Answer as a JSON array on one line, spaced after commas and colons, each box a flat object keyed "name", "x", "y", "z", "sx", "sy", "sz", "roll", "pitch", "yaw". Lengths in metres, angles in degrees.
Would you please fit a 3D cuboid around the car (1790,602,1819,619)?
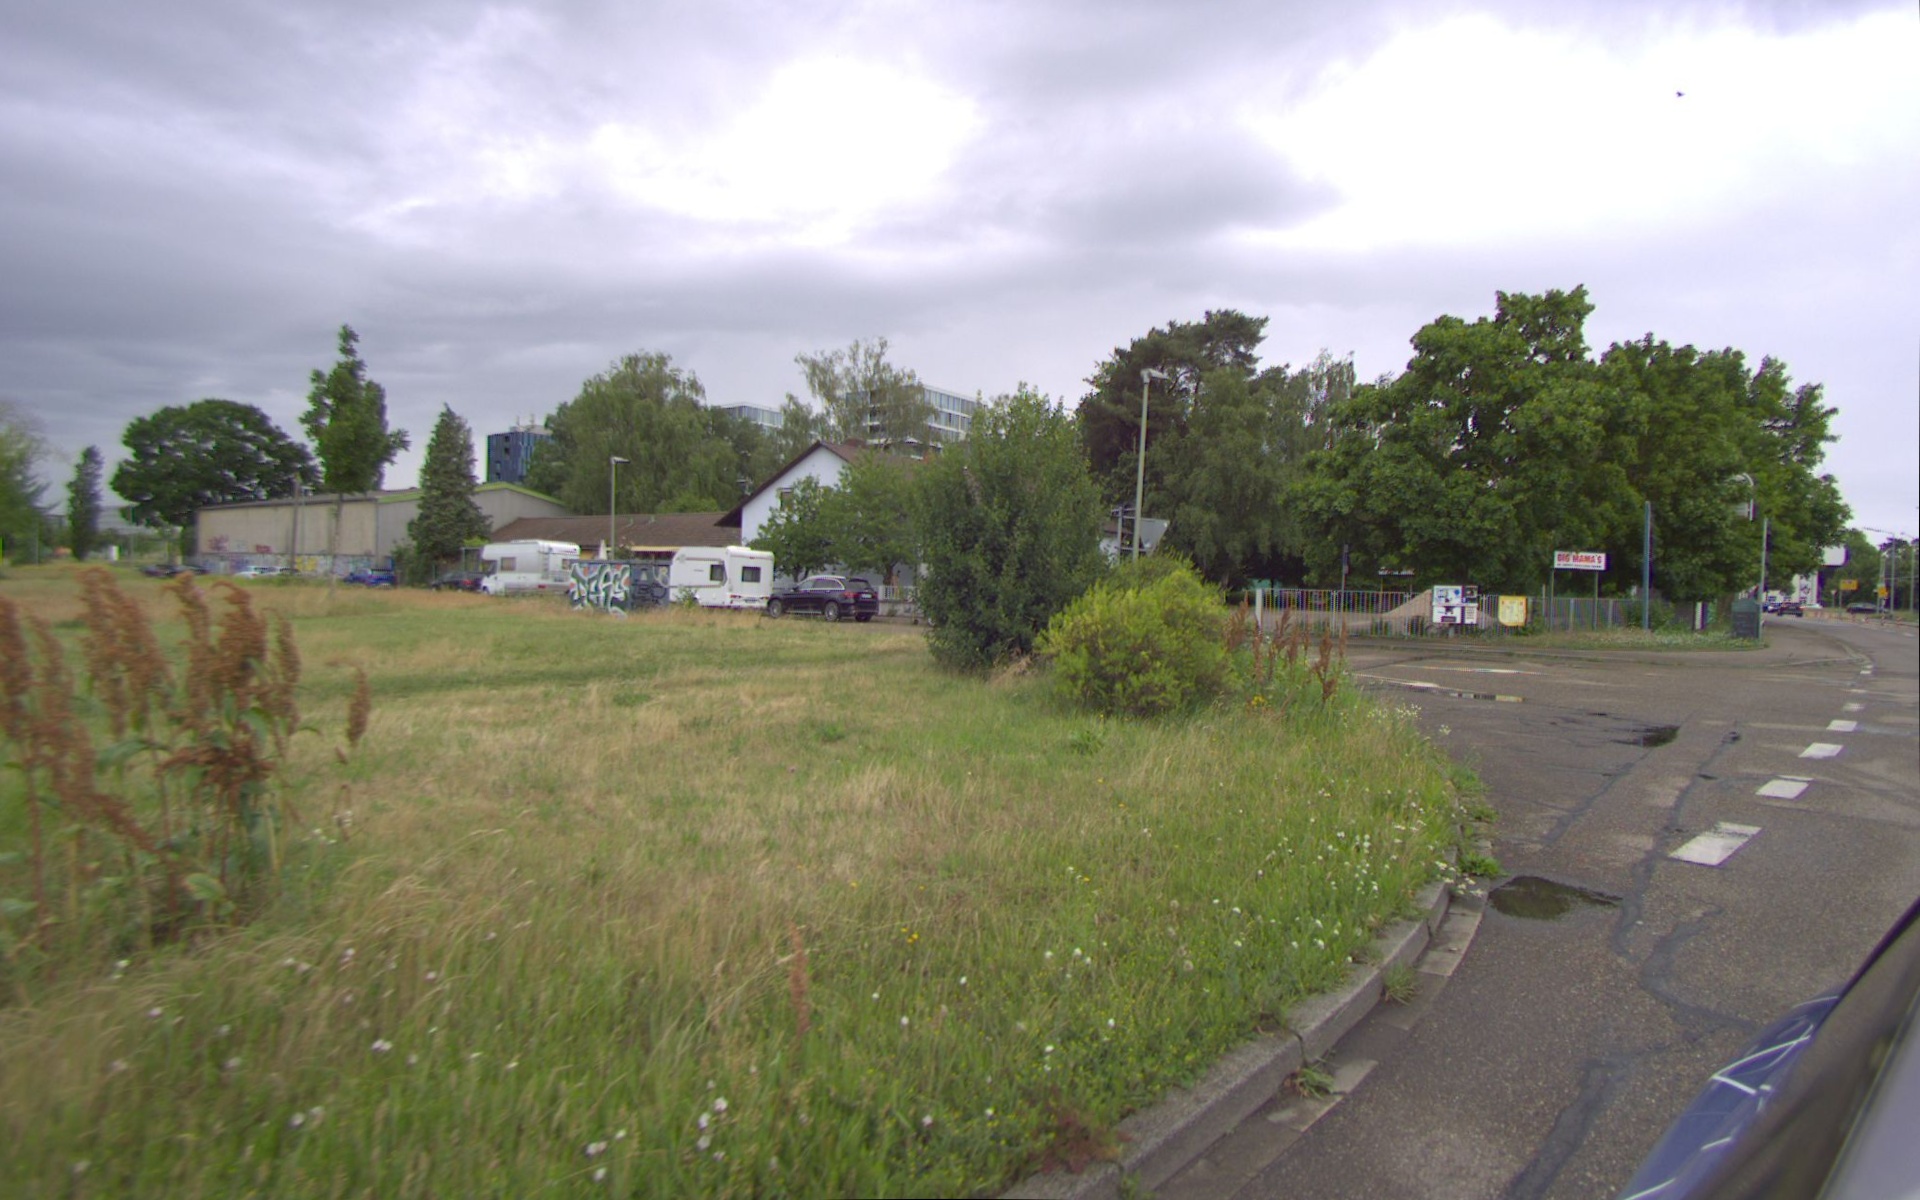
[{"name": "car", "x": 83.896, "y": 1.096, "z": 100.587, "sx": 1.877, "sy": 1.586, "sz": 4.299, "roll": 2, "pitch": 0, "yaw": 37}]

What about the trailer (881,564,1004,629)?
[{"name": "trailer", "x": -0.619, "y": -0.154, "z": 34.311, "sx": 3.976, "sy": 2.039, "sz": 1.622, "roll": 2, "pitch": 0, "yaw": 37}]

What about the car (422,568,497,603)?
[{"name": "car", "x": -26.477, "y": -0.785, "z": 53.553, "sx": 3.913, "sy": 1.594, "sz": 1.972, "roll": 2, "pitch": -2, "yaw": 38}]

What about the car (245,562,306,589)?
[{"name": "car", "x": -45.944, "y": -1.641, "z": 67.933, "sx": 4.567, "sy": 1.594, "sz": 1.972, "roll": 2, "pitch": -2, "yaw": 38}]

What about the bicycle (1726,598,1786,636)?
[{"name": "bicycle", "x": 24.676, "y": 0.528, "z": 31.375, "sx": 1.913, "sy": 1.125, "sz": 0.799, "roll": 1, "pitch": 1, "yaw": -30}]

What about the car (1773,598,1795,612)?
[{"name": "car", "x": 103.573, "y": 0.654, "z": 127.238, "sx": 1.746, "sy": 1.606, "sz": 3.852, "roll": 5, "pitch": 3, "yaw": 35}]

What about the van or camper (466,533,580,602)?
[{"name": "van or camper", "x": -21.465, "y": -1.618, "z": 49.603, "sx": 6.037, "sy": 3.151, "sz": 2.242, "roll": 2, "pitch": 0, "yaw": 36}]

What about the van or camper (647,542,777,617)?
[{"name": "van or camper", "x": -10.124, "y": -0.864, "z": 41.132, "sx": 5.153, "sy": 2.868, "sz": 2.383, "roll": 2, "pitch": 0, "yaw": 38}]

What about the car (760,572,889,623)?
[{"name": "car", "x": -4.981, "y": -0.117, "z": 37.010, "sx": 4.567, "sy": 1.660, "sz": 1.974, "roll": 2, "pitch": 0, "yaw": 36}]

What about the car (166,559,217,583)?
[{"name": "car", "x": -60.166, "y": -2.275, "z": 79.221, "sx": 4.504, "sy": 1.594, "sz": 1.972, "roll": 2, "pitch": -2, "yaw": 38}]

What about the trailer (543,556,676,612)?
[{"name": "trailer", "x": -10.705, "y": -0.507, "z": 30.801, "sx": 4.093, "sy": 1.552, "sz": 1.736, "roll": 2, "pitch": 0, "yaw": 35}]

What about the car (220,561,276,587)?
[{"name": "car", "x": -50.409, "y": -1.842, "z": 71.671, "sx": 4.356, "sy": 1.594, "sz": 1.972, "roll": 2, "pitch": -2, "yaw": 38}]

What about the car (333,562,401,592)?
[{"name": "car", "x": -35.364, "y": -1.380, "z": 60.338, "sx": 4.261, "sy": 1.594, "sz": 1.972, "roll": 2, "pitch": -2, "yaw": 38}]
